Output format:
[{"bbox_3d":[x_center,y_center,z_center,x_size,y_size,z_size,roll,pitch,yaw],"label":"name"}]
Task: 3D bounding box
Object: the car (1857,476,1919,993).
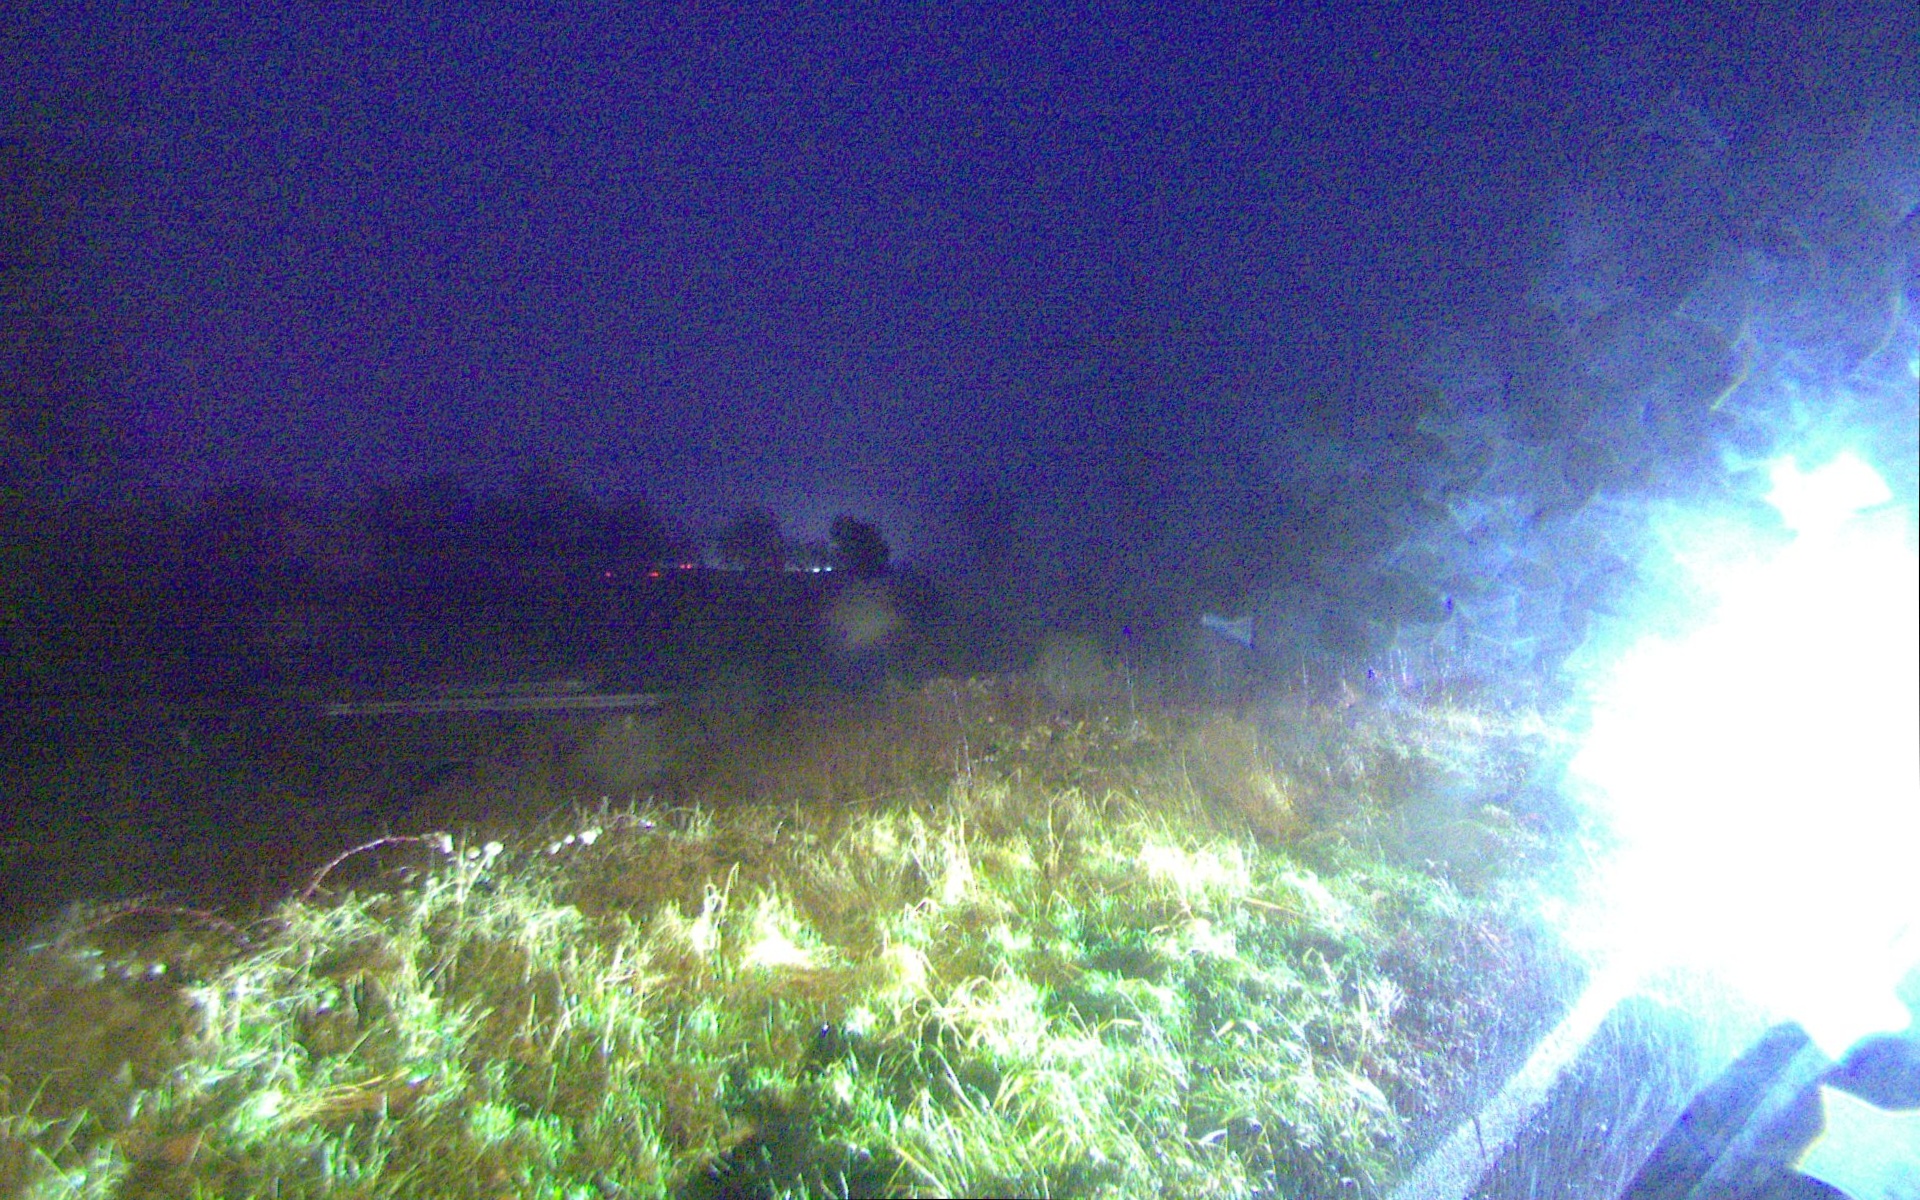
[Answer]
[{"bbox_3d":[5.700,0.488,4.764,1.999,1.949,4.299,1,1,45],"label":"car"}]
